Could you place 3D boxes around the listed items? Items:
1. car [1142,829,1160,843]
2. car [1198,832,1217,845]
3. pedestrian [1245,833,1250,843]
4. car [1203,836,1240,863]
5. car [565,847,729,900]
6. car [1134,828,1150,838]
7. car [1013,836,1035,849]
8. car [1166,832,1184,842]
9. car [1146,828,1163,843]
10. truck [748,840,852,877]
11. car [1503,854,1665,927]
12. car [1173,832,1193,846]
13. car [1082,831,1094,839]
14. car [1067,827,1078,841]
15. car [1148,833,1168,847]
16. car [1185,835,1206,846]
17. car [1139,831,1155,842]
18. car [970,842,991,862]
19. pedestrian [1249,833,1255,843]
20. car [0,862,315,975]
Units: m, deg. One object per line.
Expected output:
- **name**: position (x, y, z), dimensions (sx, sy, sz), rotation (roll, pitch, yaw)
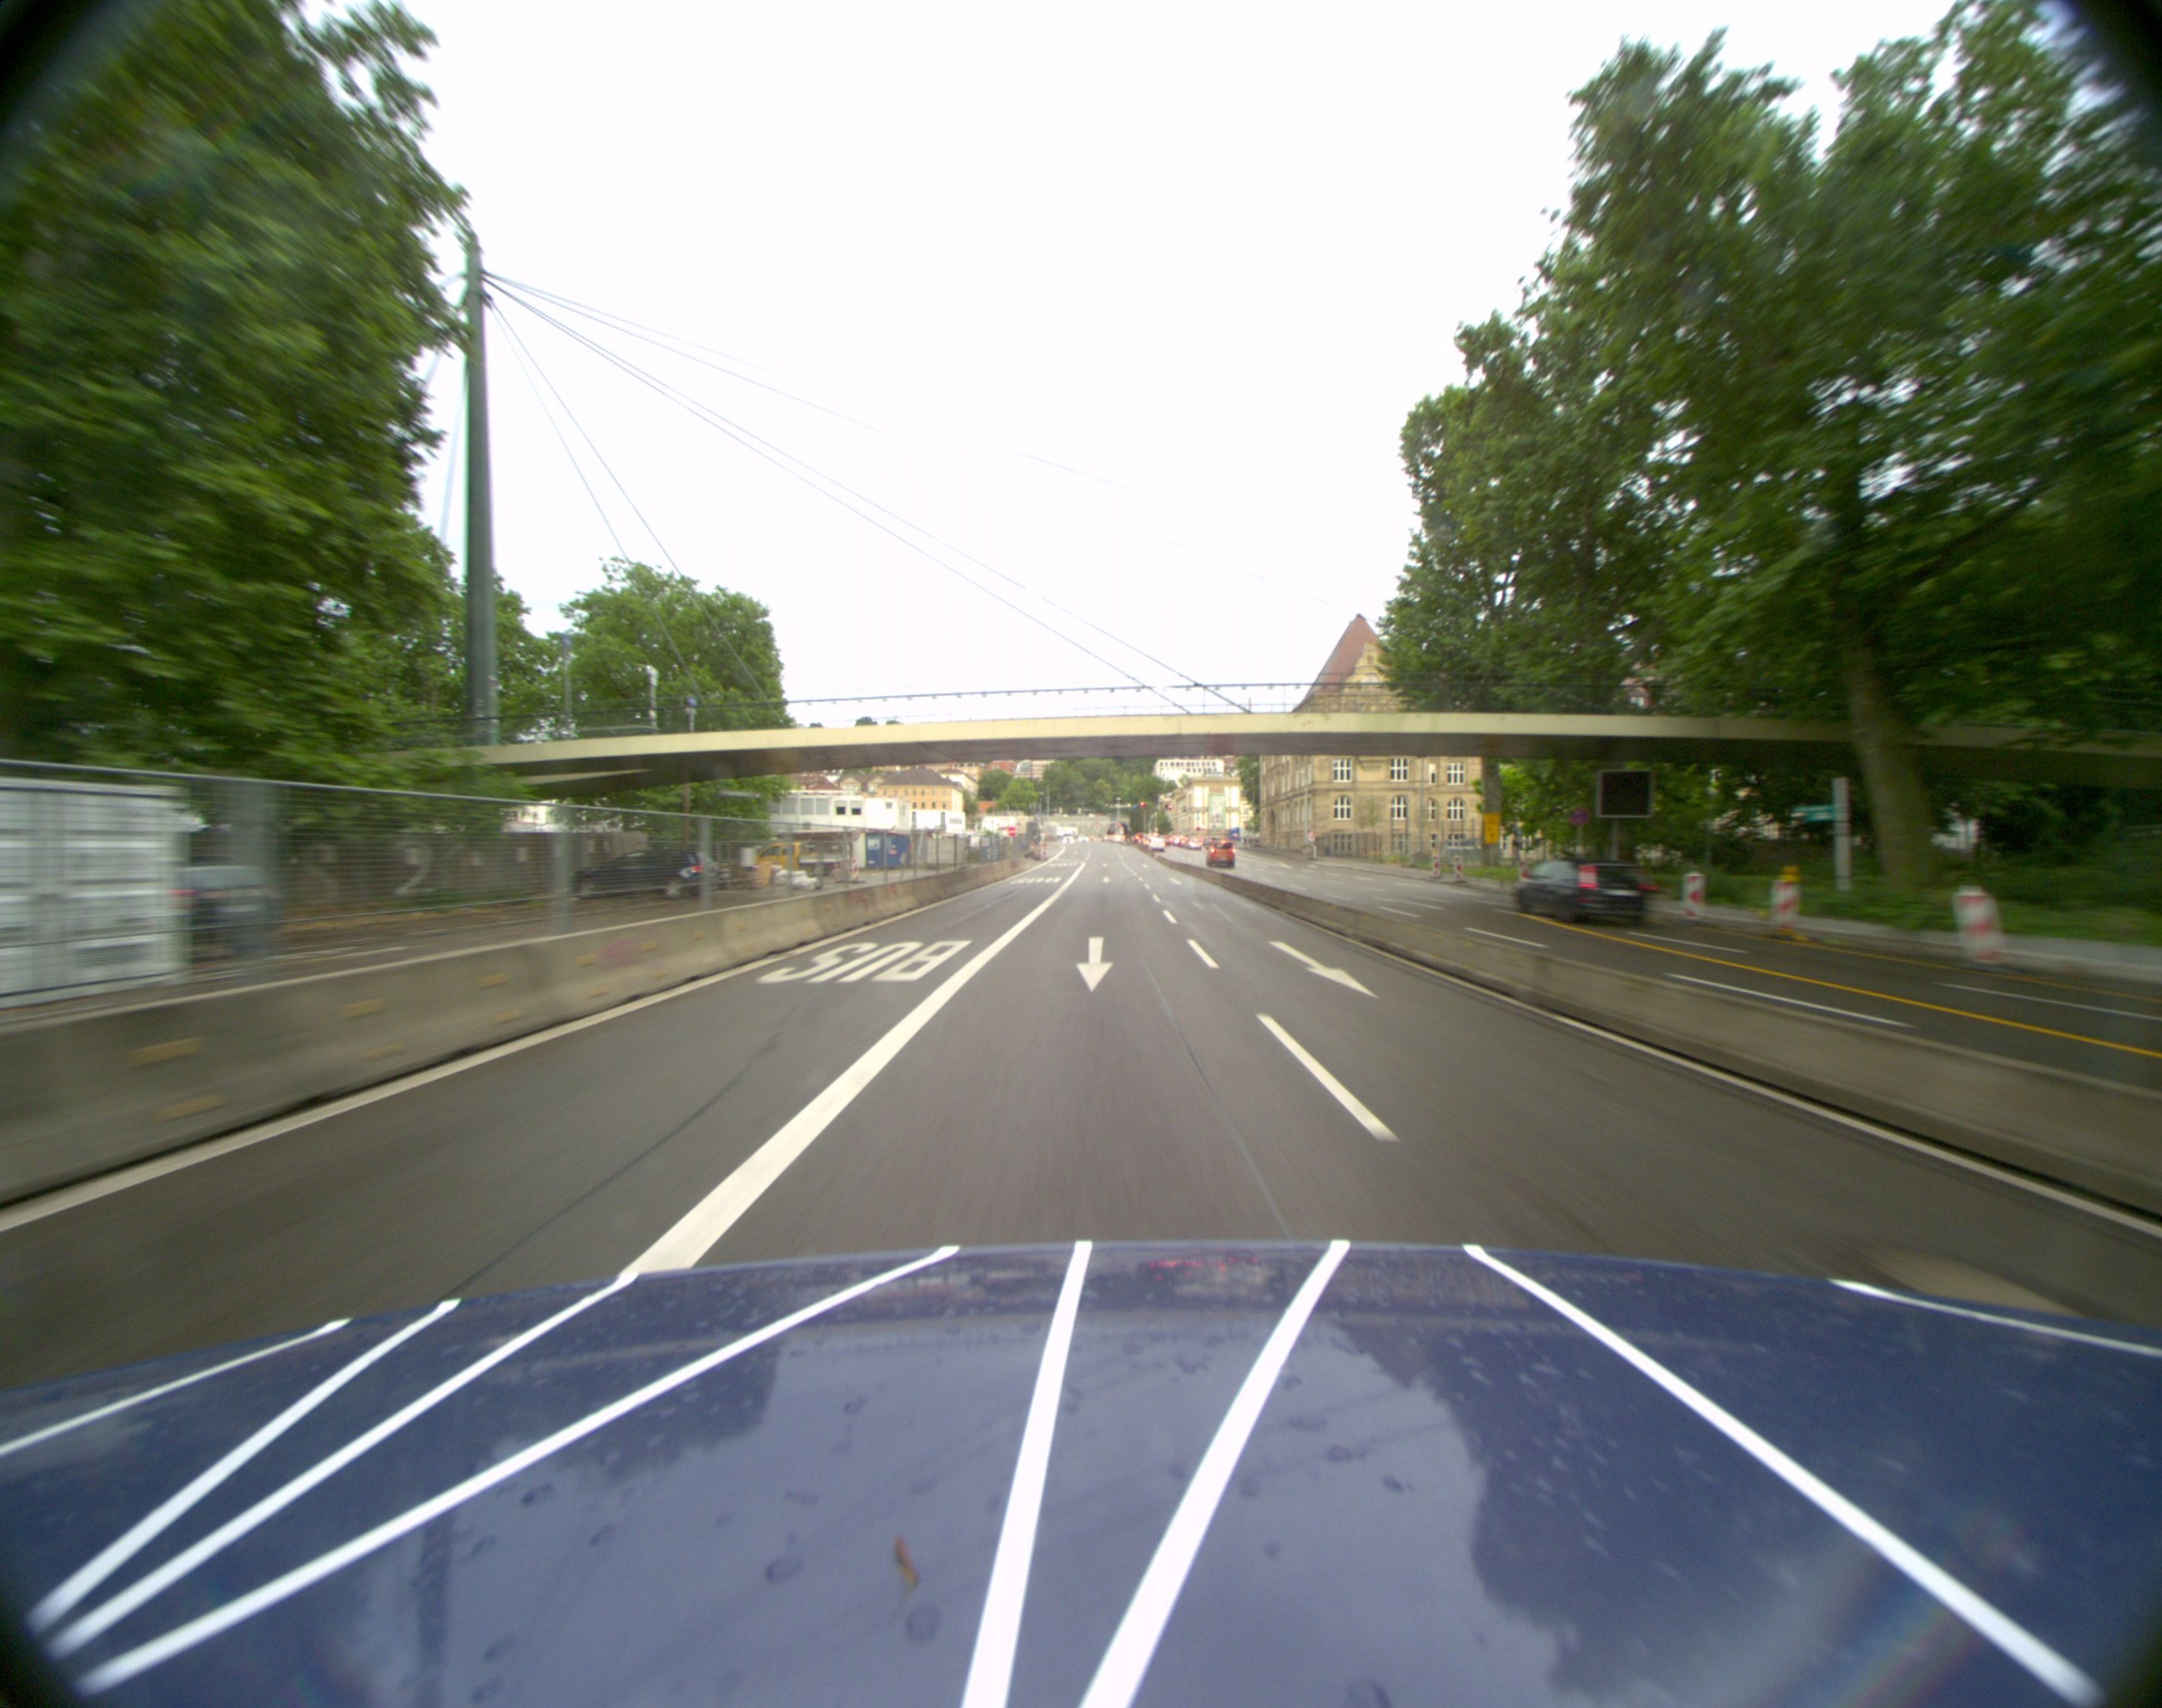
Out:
- **car**: position (10.070, -2.592, 109.699), dimensions (1.999, 1.856, 5.592), rotation (2, 3, 0)
- **car**: position (21.208, -2.618, 127.198), dimensions (2.000, 2.003, 3.995), rotation (1, 3, -7)
- **pedestrian**: position (26.748, -2.632, 121.944), dimensions (0.618, 1.576, 0.734), rotation (2, 3, 2)
- **car**: position (11.072, -0.420, 60.218), dimensions (2.035, 1.926, 5.042), rotation (2, 3, 2)
- **car**: position (-14.981, 0.646, 26.448), dimensions (4.511, 1.718, 1.999), rotation (-1, 2, -4)
- **car**: position (9.885, -3.394, 122.825), dimensions (1.999, 1.559, 5.378), rotation (2, 3, -1)
- **car**: position (-6.769, -1.397, 90.613), dimensions (1.836, 1.433, 4.412), rotation (-1, 2, 5)
- **car**: position (14.917, -2.726, 120.812), dimensions (1.999, 1.375, 4.209), rotation (2, 3, -3)
- **car**: position (9.910, -2.521, 102.835), dimensions (1.914, 1.856, 4.376), rotation (2, 3, 0)
- **truck**: position (-16.178, 0.212, 44.045), dimensions (5.169, 2.003, 2.407), rotation (0, 3, -5)
- **car**: position (12.664, 0.834, 19.502), dimensions (2.034, 1.643, 4.323), rotation (1, 0, 12)
- **car**: position (15.347, -2.316, 114.924), dimensions (2.000, 2.003, 3.995), rotation (1, 3, -7)
- **car**: position (1.570, -4.163, 164.552), dimensions (2.000, 1.562, 3.995), rotation (1, 3, -7)
- **car**: position (-2.463, -5.798, 219.565), dimensions (2.836, 3.992, 8.722), rotation (2, 3, 2)
- **car**: position (9.694, -1.764, 96.160), dimensions (1.898, 1.559, 4.895), rotation (2, 3, 0)
- **car**: position (16.091, -1.878, 106.837), dimensions (1.999, 1.375, 4.208), rotation (1, 3, -4)
- **car**: position (10.173, -2.761, 117.087), dimensions (1.999, 1.493, 4.819), rotation (2, 3, -1)
- **car**: position (-9.417, -0.205, 71.333), dimensions (1.856, 1.477, 3.994), rotation (1, 5, -6)
- **pedestrian**: position (27.398, -2.599, 121.771), dimensions (0.618, 1.576, 0.734), rotation (1, 3, -6)
- **car**: position (-15.359, 0.959, 12.038), dimensions (4.554, 1.619, 1.787), rotation (0, 0, -1)
